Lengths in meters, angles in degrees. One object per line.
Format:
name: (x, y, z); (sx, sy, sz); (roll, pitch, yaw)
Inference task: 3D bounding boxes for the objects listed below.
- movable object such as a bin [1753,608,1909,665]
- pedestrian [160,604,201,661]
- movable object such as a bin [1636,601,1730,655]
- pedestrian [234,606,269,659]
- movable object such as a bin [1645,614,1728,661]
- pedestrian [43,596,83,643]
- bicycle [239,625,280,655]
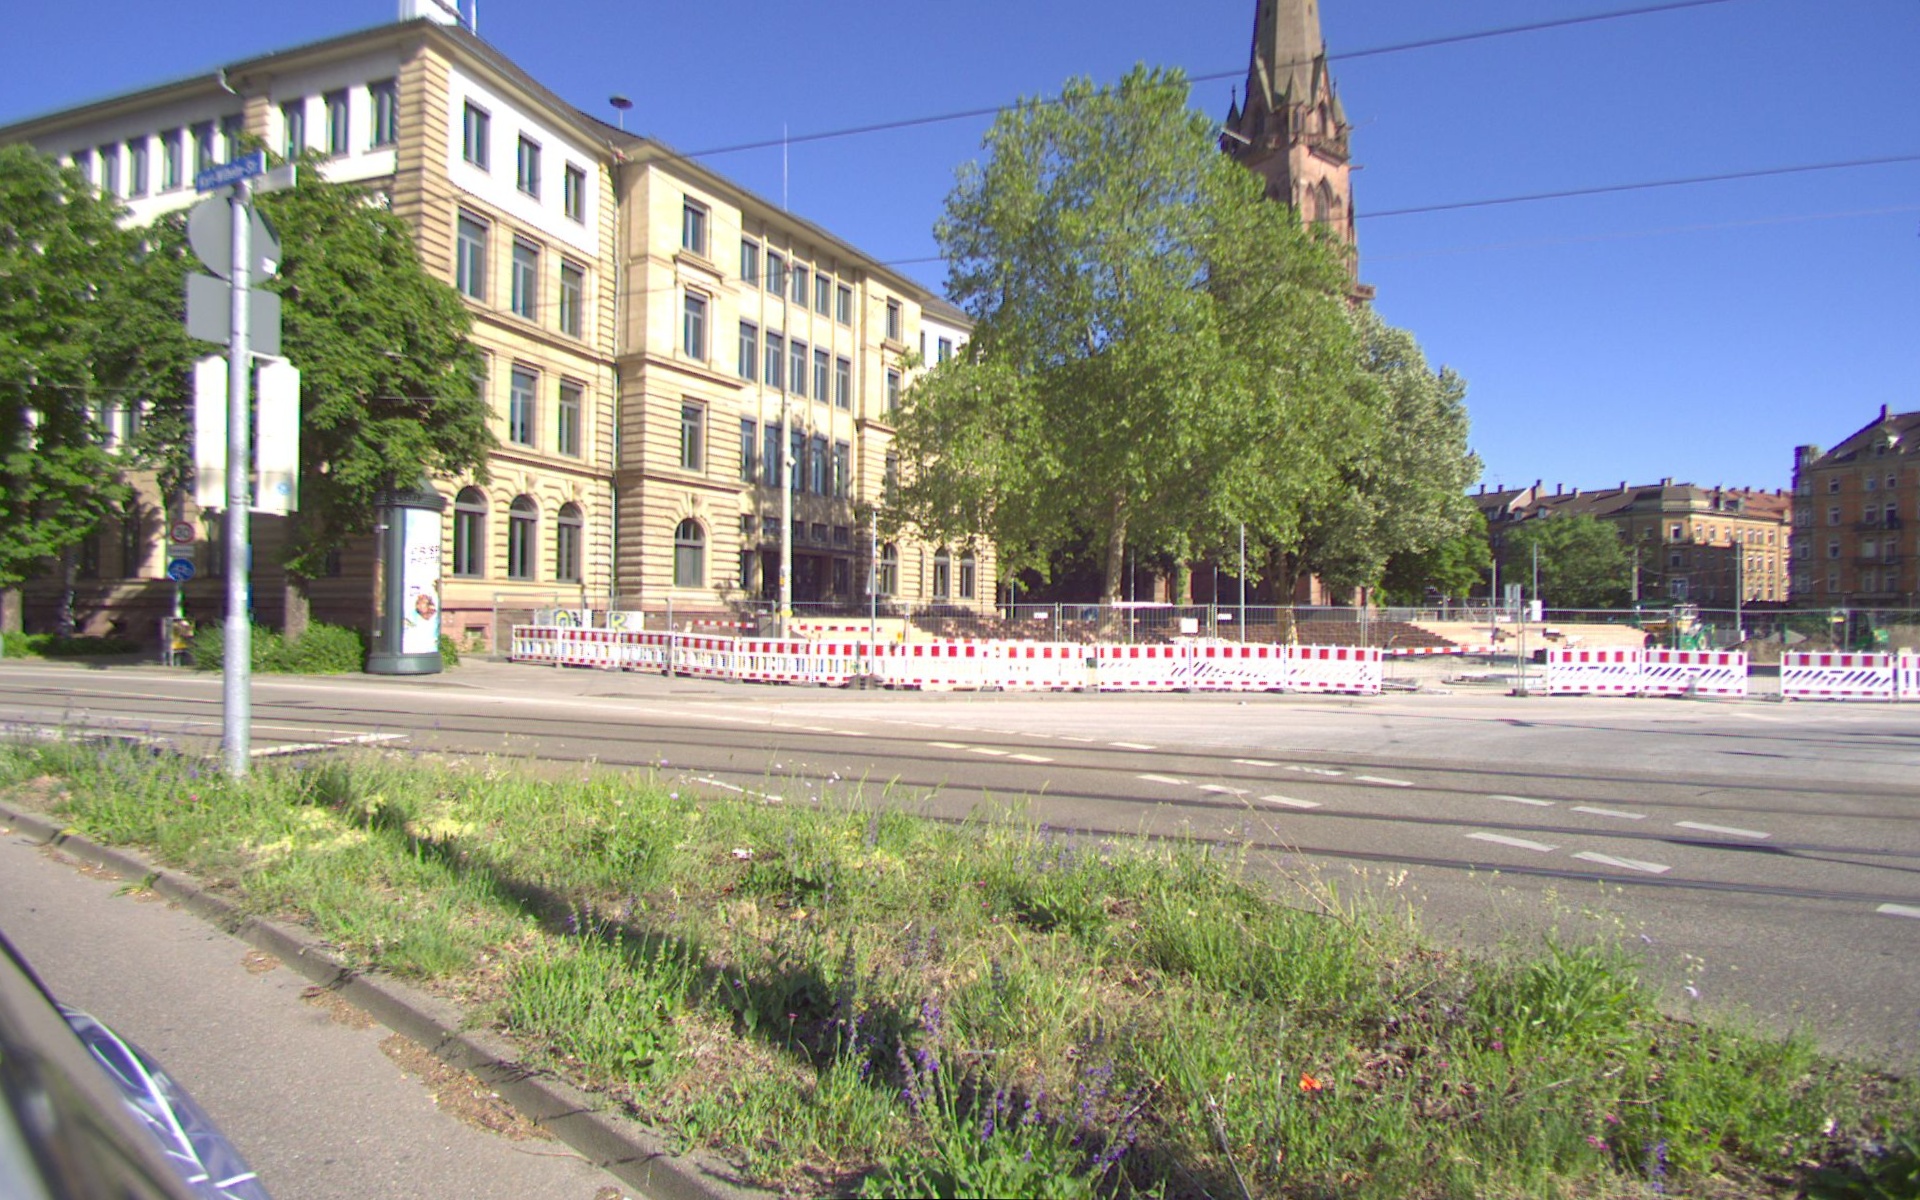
movable object such as a bin: (46.858, 1.868, 54.654); (1.862, 2.780, 6.104); (1, 0, -30)
pedestrian: (-23.851, 1.002, 30.982); (0.844, 1.682, 0.721); (2, 0, 35)
movable object such as a bin: (45.990, 1.720, 64.375); (5.158, 3.196, 3.128); (0, 0, -33)
pedestrian: (-21.326, 0.966, 30.452); (0.649, 1.574, 0.575); (0, -1, 20)
movable object such as a bin: (38.755, 1.973, 53.968); (4.156, 2.364, 1.900); (1, 0, -27)
pedestrian: (-31.328, 0.683, 35.347); (0.851, 1.578, 0.670); (0, 3, 16)
bicycle: (-22.586, 1.278, 32.630); (1.352, 0.910, 0.395); (1, 0, 22)
